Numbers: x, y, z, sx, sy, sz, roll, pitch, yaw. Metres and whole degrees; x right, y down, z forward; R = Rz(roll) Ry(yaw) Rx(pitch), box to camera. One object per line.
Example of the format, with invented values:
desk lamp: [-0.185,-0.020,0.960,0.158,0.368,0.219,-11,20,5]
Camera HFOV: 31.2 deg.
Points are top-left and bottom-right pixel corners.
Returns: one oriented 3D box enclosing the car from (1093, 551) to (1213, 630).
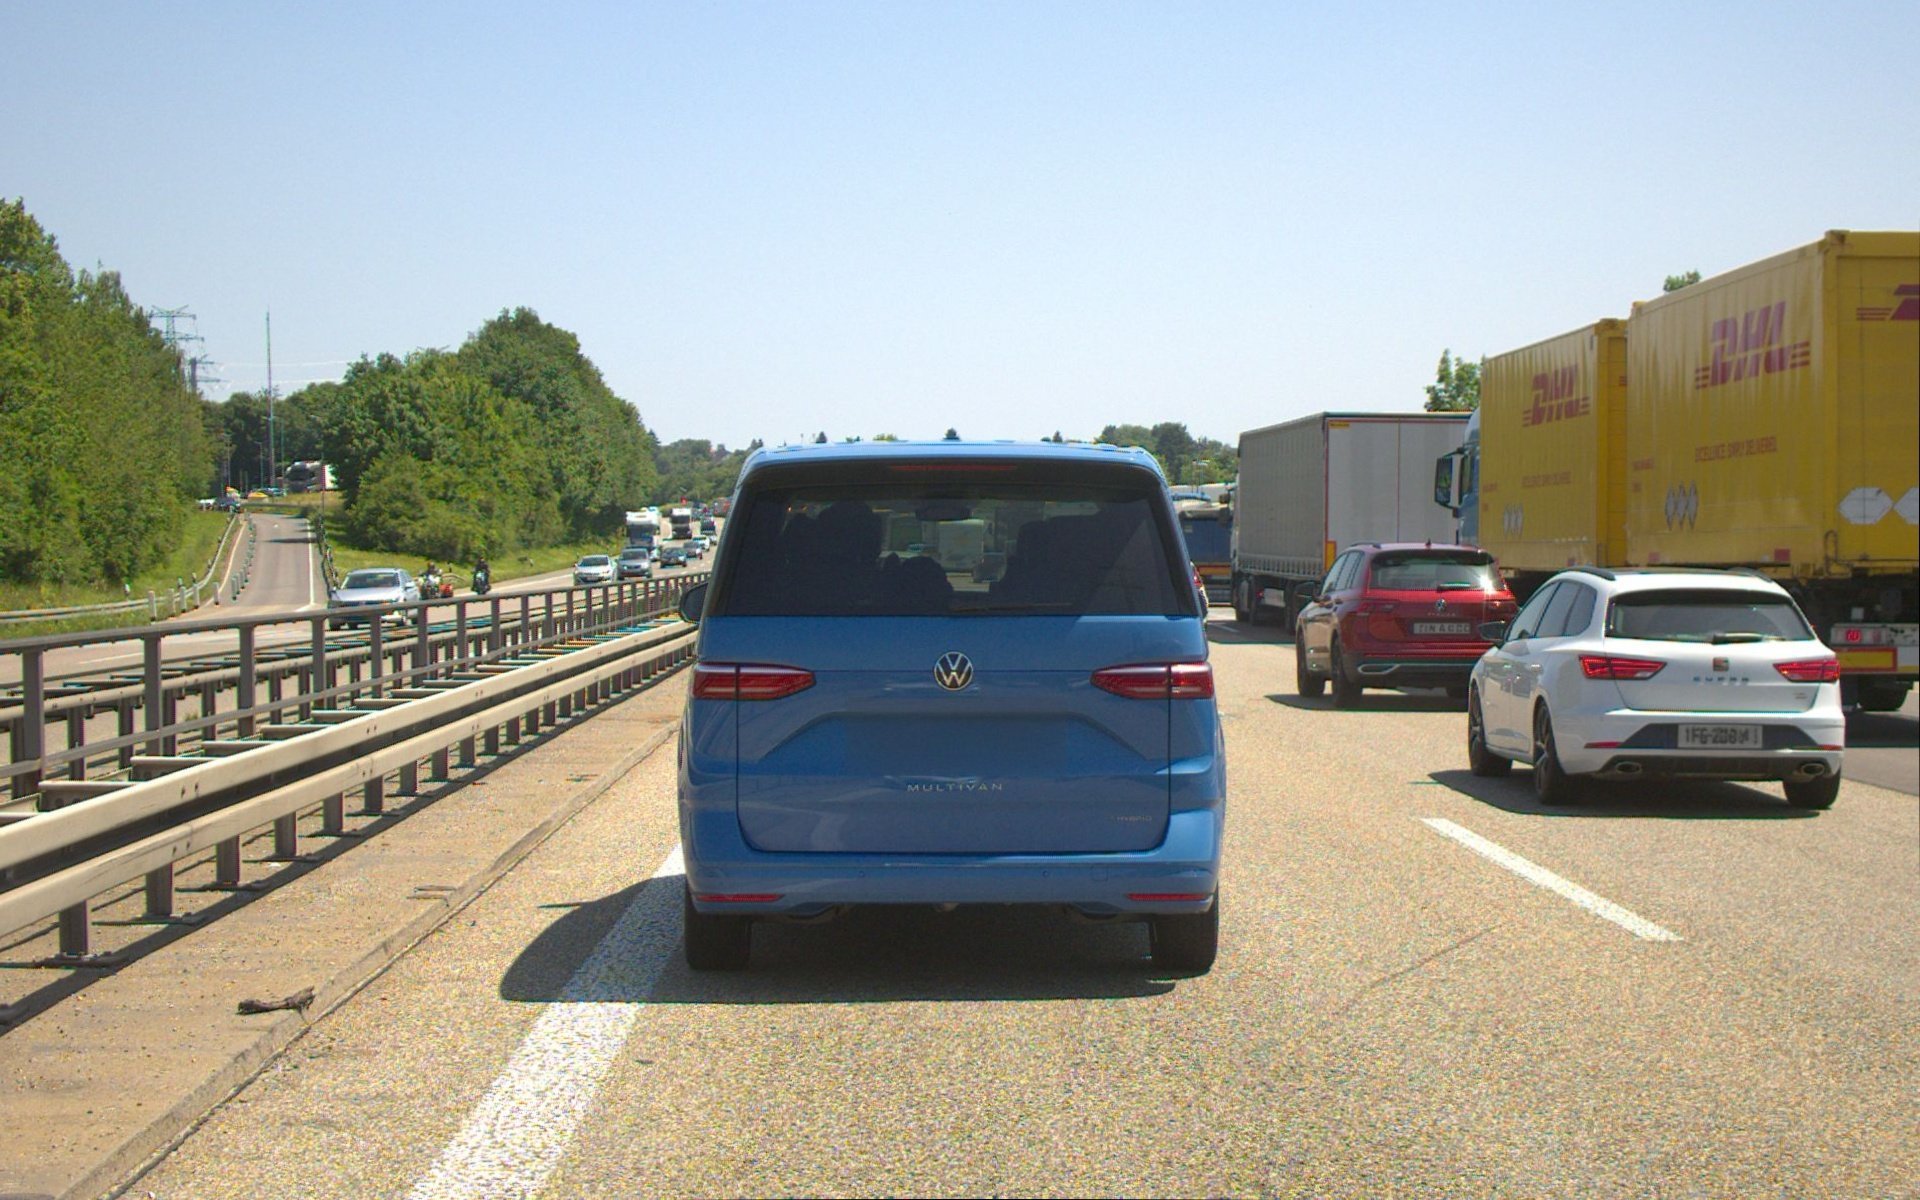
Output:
car: [3.537,-0.197,63.650,1.838,1.409,4.000,0,1,-2]

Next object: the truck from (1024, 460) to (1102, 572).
truck: [4.779,-3.878,161.768,2.833,5.023,11.147,1,0,-2]

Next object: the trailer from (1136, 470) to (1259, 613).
trailer: [6.549,-1.579,96.249,2.379,3.731,11.189,1,0,-1]

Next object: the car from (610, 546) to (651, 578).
car: [-17.726,-2.049,184.967,1.829,1.604,4.169,-4,1,-1]

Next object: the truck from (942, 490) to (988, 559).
truck: [0.318,-5.693,260.394,2.833,5.022,12.914,-1,1,-2]

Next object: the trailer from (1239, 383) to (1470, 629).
trailer: [7.150,-1.621,63.948,2.755,4.132,11.312,1,0,-1]

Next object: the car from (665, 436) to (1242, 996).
car: [-0.046,0.349,13.234,1.882,1.831,4.000,0,1,-1]

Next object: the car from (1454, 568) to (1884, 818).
car: [4.310,0.508,21.537,1.781,1.382,4.188,0,1,-1]

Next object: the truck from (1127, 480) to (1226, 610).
truck: [6.384,-1.609,102.098,2.367,3.709,6.034,1,0,-1]

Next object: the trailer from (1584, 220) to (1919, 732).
trailer: [7.951,-0.991,31.491,2.701,4.010,8.931,1,0,-1]

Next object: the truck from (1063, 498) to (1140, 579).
truck: [5.815,-2.506,142.692,2.355,3.207,9.742,1,0,-2]

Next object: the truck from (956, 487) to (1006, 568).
truck: [1.401,-4.910,236.646,2.833,5.354,12.556,1,0,-2]

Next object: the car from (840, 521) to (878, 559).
car: [-5.437,-3.235,186.296,1.993,2.007,4.000,1,0,-1]

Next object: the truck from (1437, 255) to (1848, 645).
truck: [7.860,-1.601,41.142,2.722,4.041,10.336,1,0,0]

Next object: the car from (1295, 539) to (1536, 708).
car: [4.534,0.189,34.733,1.851,1.603,4.000,0,1,-1]

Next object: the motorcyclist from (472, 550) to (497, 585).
motorcyclist: [-20.347,-1.402,147.051,0.898,1.436,1.082,-1,2,-1]

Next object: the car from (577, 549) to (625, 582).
car: [-16.325,-1.578,156.479,1.715,1.429,4.176,-3,1,-1]

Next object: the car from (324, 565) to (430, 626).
car: [-14.174,-0.119,83.792,1.910,1.389,4.165,-2,0,-1]

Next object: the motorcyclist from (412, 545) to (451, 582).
motorcyclist: [-19.152,-1.323,124.636,1.186,1.252,1.119,-3,1,-1]

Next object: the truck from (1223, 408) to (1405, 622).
truck: [7.077,-1.661,69.655,2.768,4.081,6.984,1,0,-1]

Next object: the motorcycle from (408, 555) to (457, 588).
motorcycle: [-19.152,-1.034,124.871,1.366,1.095,2.576,-3,1,-1]

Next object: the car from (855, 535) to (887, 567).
car: [-5.702,-3.154,220.941,1.993,2.007,4.000,1,0,-1]

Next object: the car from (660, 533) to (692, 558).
car: [-19.233,-3.721,233.045,1.829,1.604,4.169,-3,1,-1]
